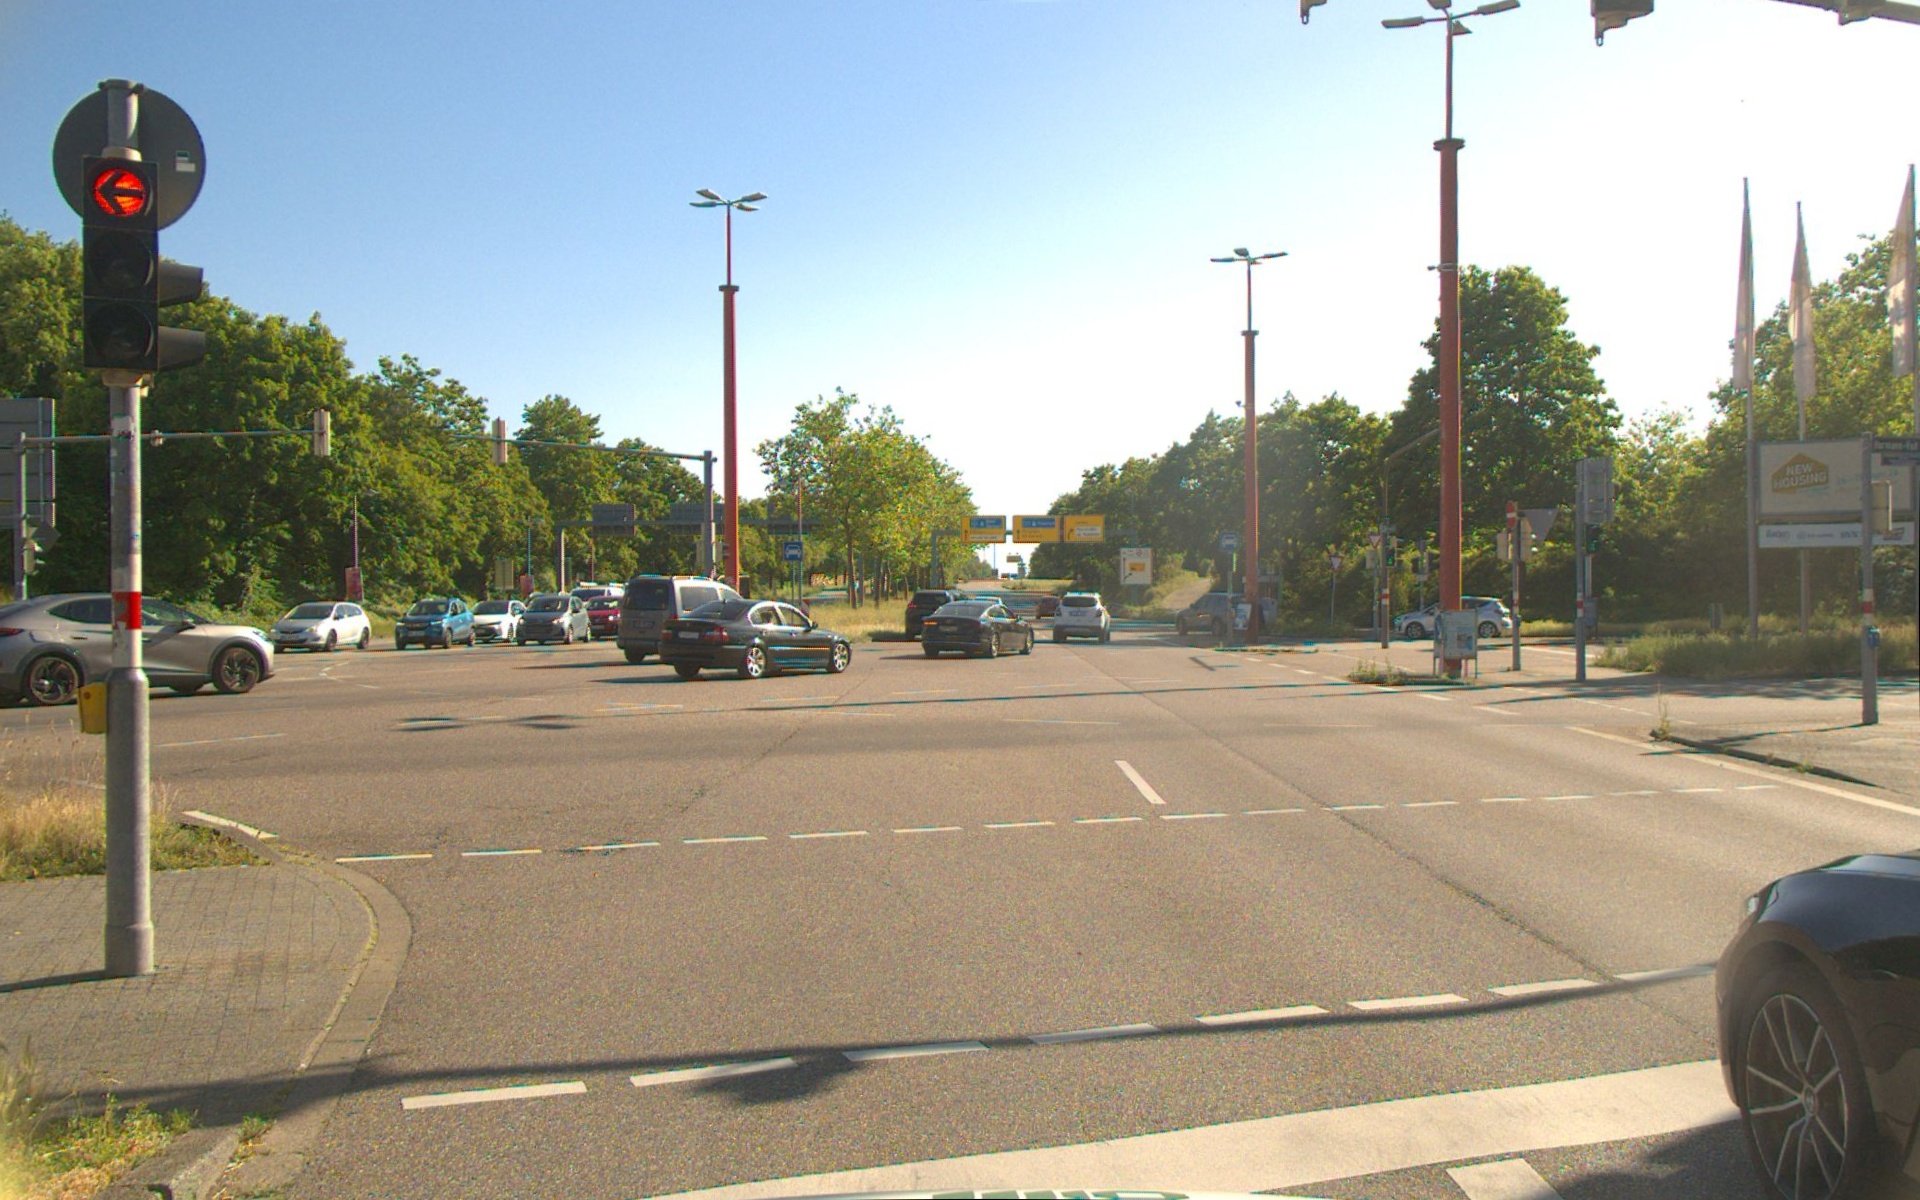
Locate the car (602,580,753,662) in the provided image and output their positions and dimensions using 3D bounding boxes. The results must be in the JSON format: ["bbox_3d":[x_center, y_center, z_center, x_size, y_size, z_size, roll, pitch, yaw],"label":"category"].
[{"bbox_3d":[-6.268,0.440,37.214,1.806,1.738,4.311,0,0,13],"label":"car"}]

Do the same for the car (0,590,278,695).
[{"bbox_3d":[-12.896,0.596,25.086,1.803,1.447,4.413,-1,0,40],"label":"car"}]

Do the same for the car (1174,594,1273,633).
[{"bbox_3d":[10.411,0.515,65.610,1.758,1.511,4.292,0,0,-27],"label":"car"}]

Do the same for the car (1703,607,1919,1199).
[{"bbox_3d":[2.932,0.735,2.357,1.831,1.422,4.444,0,0,1],"label":"car"}]

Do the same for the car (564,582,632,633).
[{"bbox_3d":[-15.345,0.310,70.334,1.855,2.061,5.221,1,0,-2],"label":"car"}]

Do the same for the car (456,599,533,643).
[{"bbox_3d":[-15.930,0.699,56.788,1.704,1.436,3.611,0,0,-2],"label":"car"}]

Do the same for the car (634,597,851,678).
[{"bbox_3d":[-3.948,0.645,30.729,1.727,1.373,4.355,0,0,29],"label":"car"}]

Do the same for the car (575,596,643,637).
[{"bbox_3d":[-12.280,0.551,58.070,1.704,1.386,3.611,0,0,-2],"label":"car"}]

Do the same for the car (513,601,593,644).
[{"bbox_3d":[-12.672,0.668,51.692,1.704,1.265,3.611,0,0,-2],"label":"car"}]

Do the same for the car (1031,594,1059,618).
[{"bbox_3d":[5.389,0.361,105.168,1.645,1.460,4.066,0,0,2],"label":"car"}]

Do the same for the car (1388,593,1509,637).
[{"bbox_3d":[17.120,0.519,57.970,3.902,1.493,1.683,0,0,24],"label":"car"}]

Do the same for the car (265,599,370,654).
[{"bbox_3d":[-19.476,0.774,50.309,1.725,1.559,3.934,0,0,-2],"label":"car"}]

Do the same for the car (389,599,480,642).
[{"bbox_3d":[-16.053,0.610,50.671,1.704,1.265,3.611,0,0,-2],"label":"car"}]

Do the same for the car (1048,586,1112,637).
[{"bbox_3d":[4.110,0.387,56.104,1.784,1.665,4.257,0,0,10],"label":"car"}]

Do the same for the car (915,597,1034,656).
[{"bbox_3d":[0.431,0.636,41.456,1.723,1.373,4.364,0,0,19],"label":"car"}]

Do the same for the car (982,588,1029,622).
[{"bbox_3d":[1.940,0.231,69.598,1.451,1.369,4.003,0,-1,9],"label":"car"}]

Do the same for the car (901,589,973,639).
[{"bbox_3d":[-0.722,0.431,54.377,1.812,1.572,4.265,0,0,7],"label":"car"}]
